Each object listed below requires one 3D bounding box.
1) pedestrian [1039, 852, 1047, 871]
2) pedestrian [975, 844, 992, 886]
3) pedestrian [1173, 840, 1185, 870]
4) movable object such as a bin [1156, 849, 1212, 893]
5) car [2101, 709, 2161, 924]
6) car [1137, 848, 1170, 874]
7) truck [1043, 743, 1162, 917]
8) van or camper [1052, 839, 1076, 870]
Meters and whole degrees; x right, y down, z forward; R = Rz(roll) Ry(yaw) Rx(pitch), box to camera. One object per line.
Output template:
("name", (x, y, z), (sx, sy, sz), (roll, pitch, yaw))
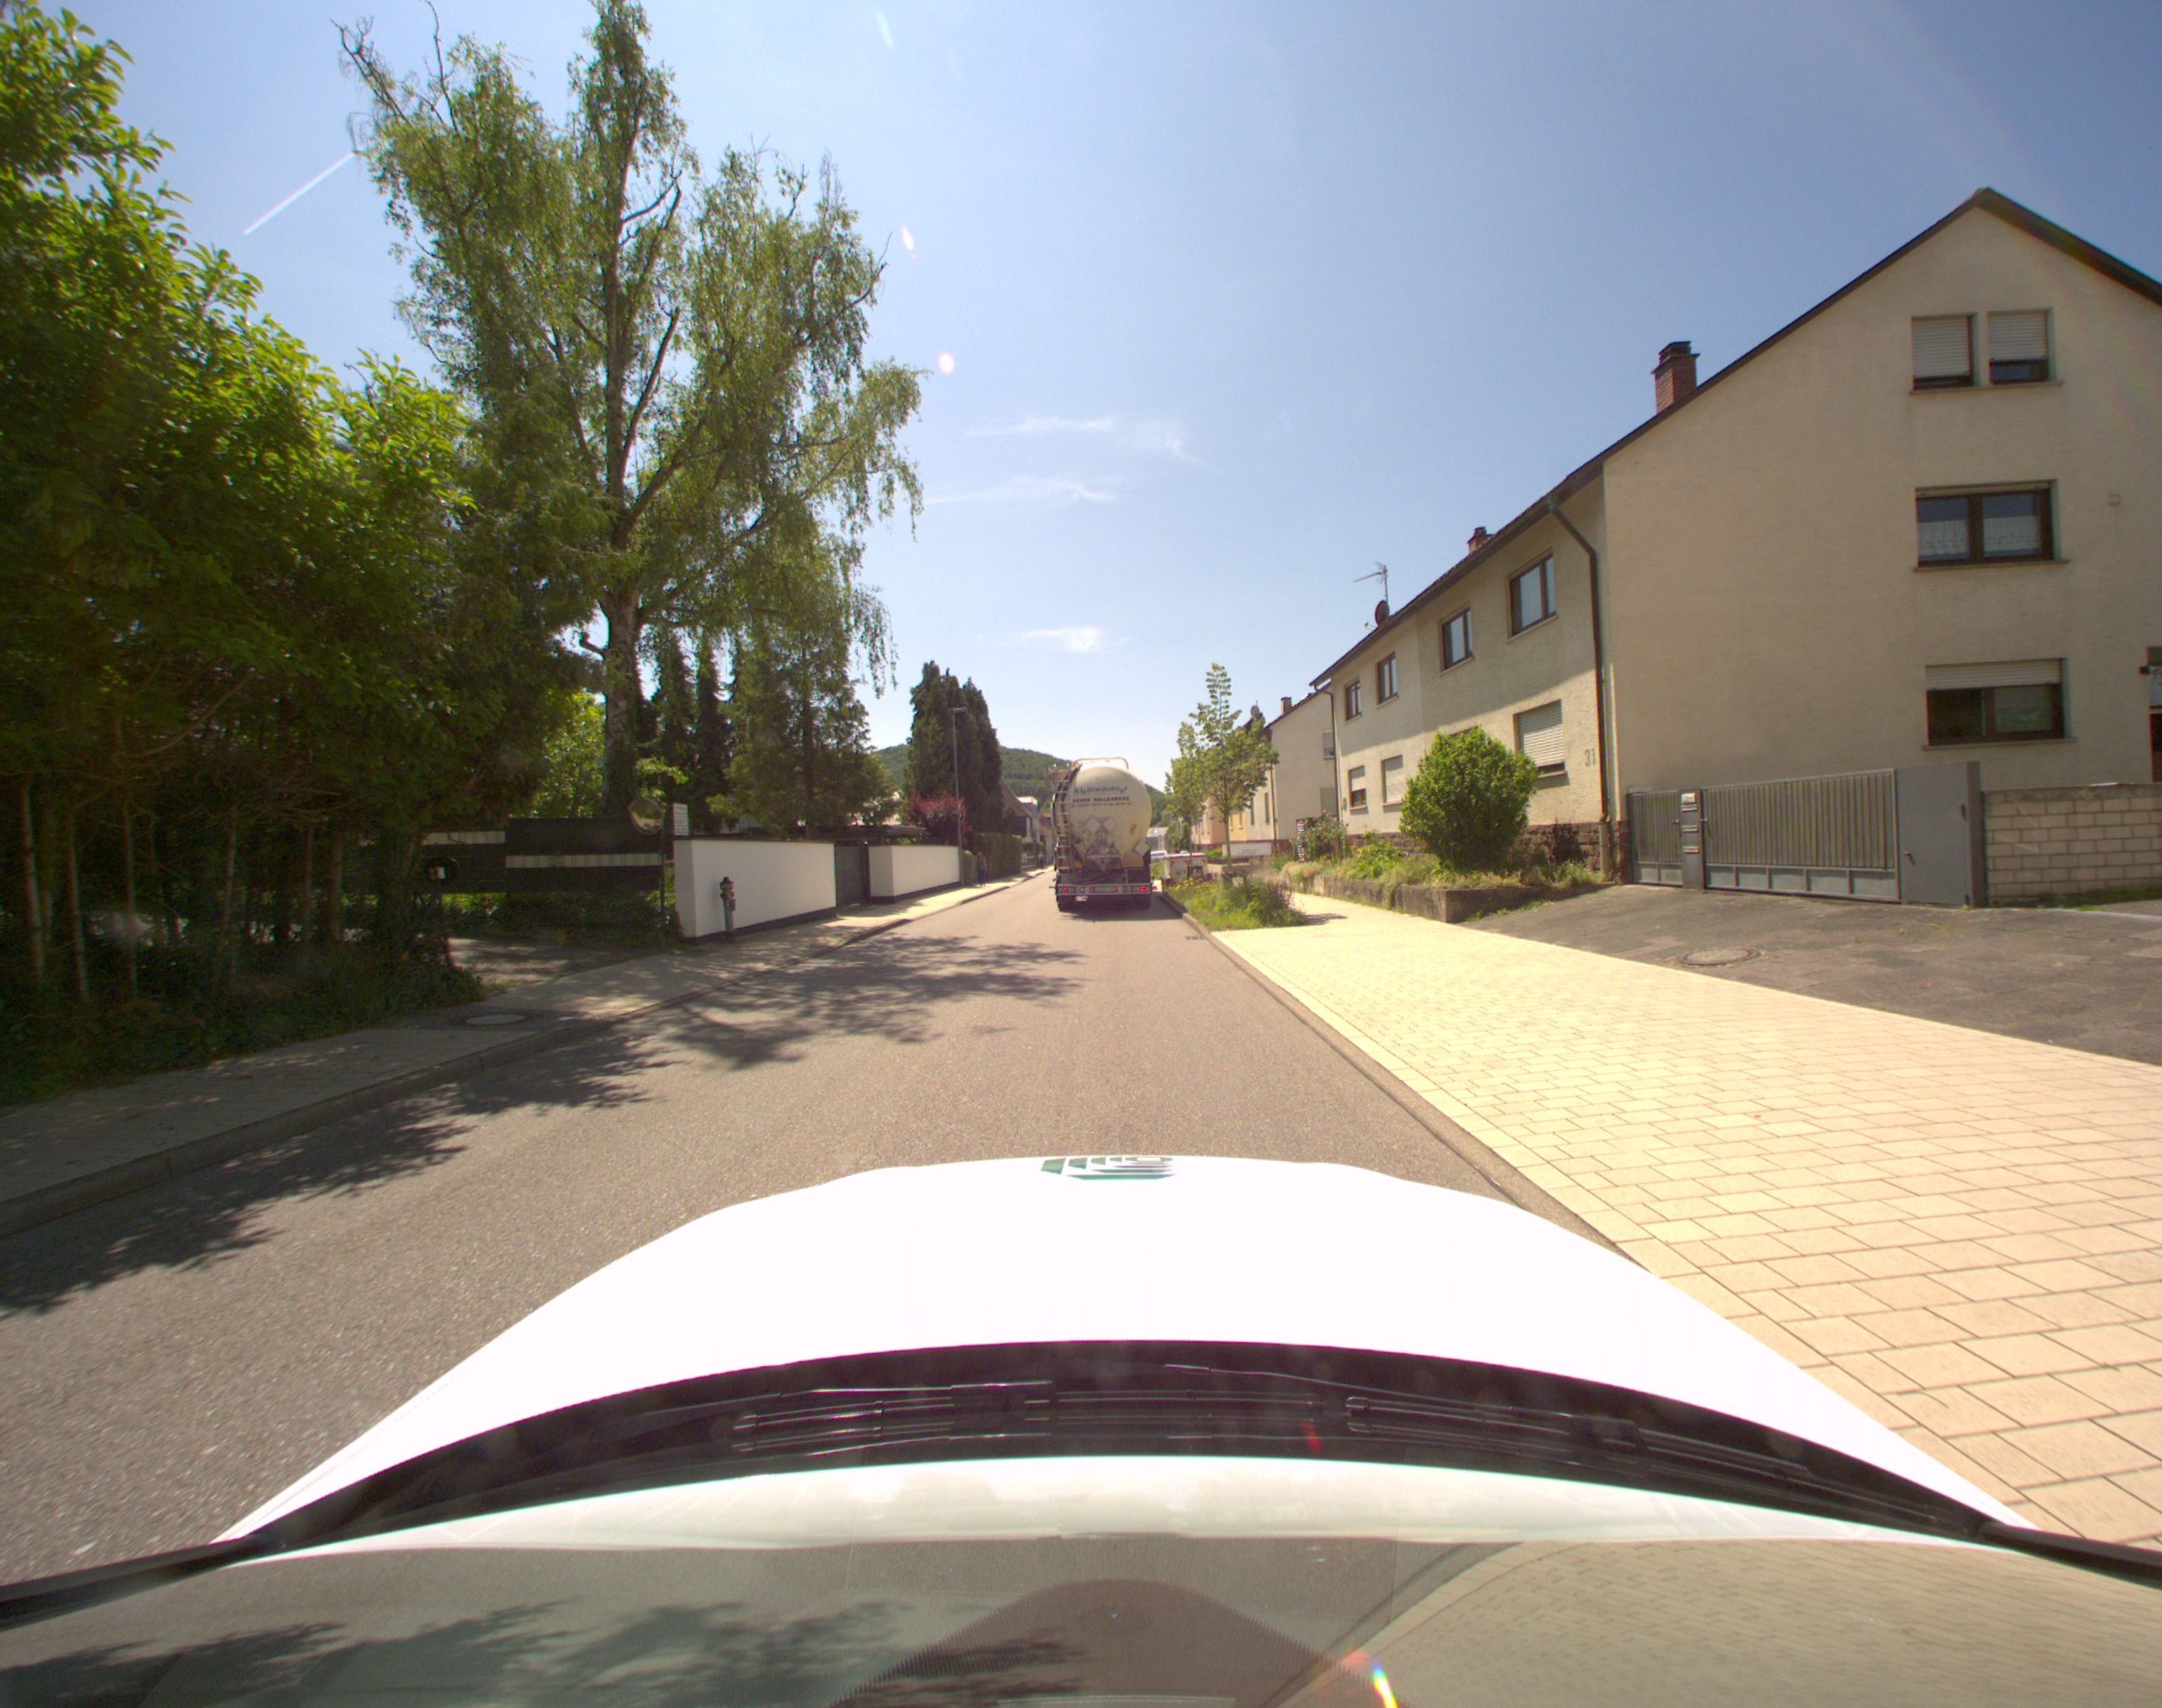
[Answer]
("pedestrian", (-3.721, 0.721, 79.641), (0.710, 1.823, 0.897), (-1, -1, -2))
("pedestrian", (-4.697, 0.519, 39.316), (0.718, 2.014, 0.804), (-1, -1, 0))
("pedestrian", (6.642, 0.049, 55.174), (0.743, 2.014, 1.034), (-1, -1, 3))
("movable object such as a bin", (3.561, 0.592, 28.578), (1.566, 1.417, 3.041), (-3, -1, 1))
("car", (10.391, -0.470, 5.763), (3.976, 1.676, 1.873), (-5, 0, -2))
("car", (4.589, 0.473, 52.021), (1.750, 1.418, 4.633), (-4, -2, 1))
("truck", (0.608, -0.570, 24.804), (2.740, 4.057, 10.891), (-1, 0, 1))
("van or camper", (-1.545, 0.099, 76.195), (2.030, 2.714, 5.825), (-1, -1, 1))
